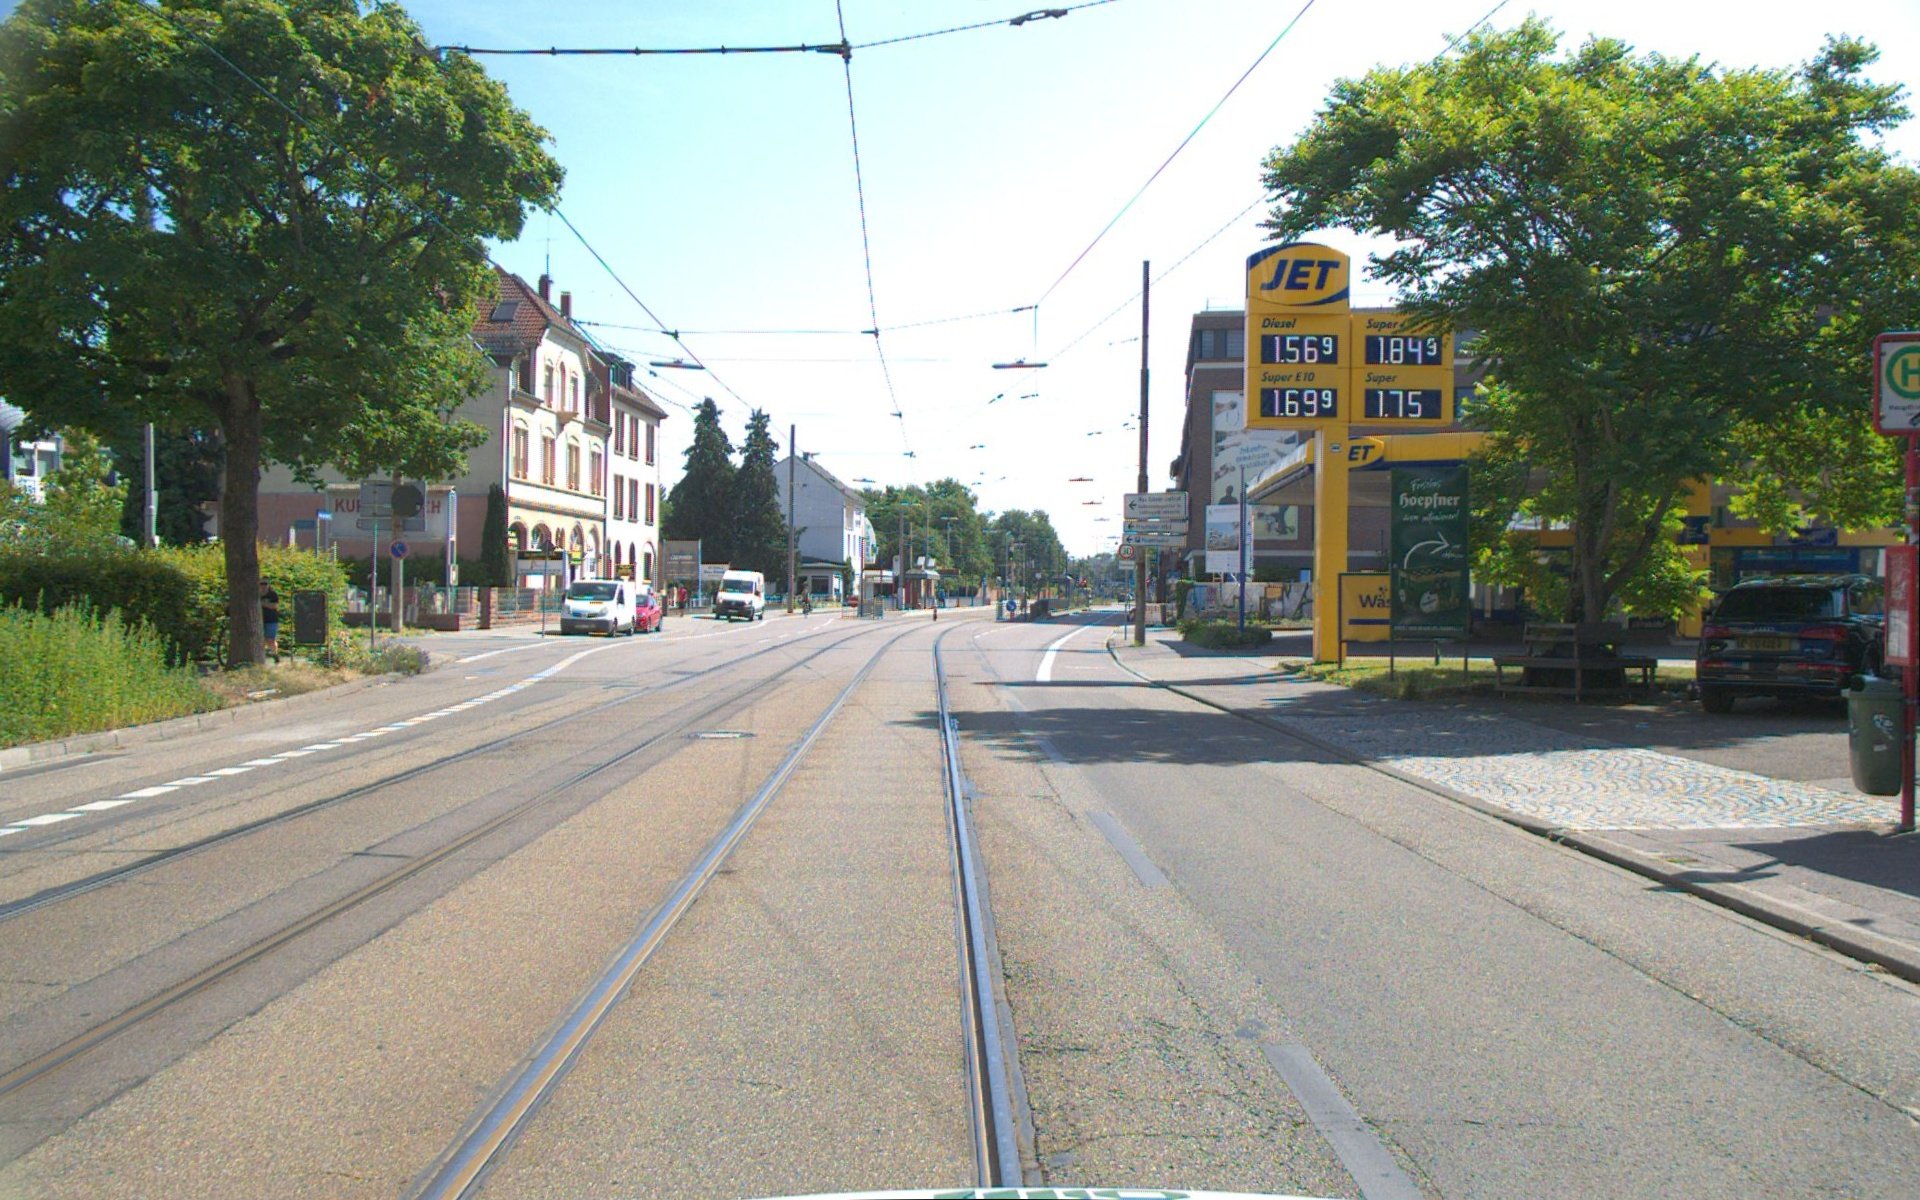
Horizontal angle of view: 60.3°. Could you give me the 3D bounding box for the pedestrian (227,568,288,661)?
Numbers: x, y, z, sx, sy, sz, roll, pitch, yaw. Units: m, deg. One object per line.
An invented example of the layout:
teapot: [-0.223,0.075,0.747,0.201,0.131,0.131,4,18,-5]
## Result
pedestrian: [-12.378,0.255,29.169,0.673,1.590,0.987,2,0,-5]

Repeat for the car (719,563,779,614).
car: [-11.258,-0.645,88.598,2.281,2.580,6.507,0,1,1]

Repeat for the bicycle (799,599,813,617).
bicycle: [-8.737,0.426,93.963,0.596,1.001,2.164,0,0,0]

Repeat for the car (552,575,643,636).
car: [-12.745,0.178,58.451,2.041,2.049,4.909,1,0,1]

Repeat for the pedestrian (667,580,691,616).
pedestrian: [-14.660,-0.116,86.350,0.922,1.847,1.131,0,0,9]

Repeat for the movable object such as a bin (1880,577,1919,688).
movable object such as a bin: [13.947,0.446,23.152,1.388,1.529,1.380,0,0,3]

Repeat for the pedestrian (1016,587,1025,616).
pedestrian: [3.763,0.070,103.527,0.544,1.791,0.793,0,0,1]

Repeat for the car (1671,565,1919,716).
car: [10.754,0.432,20.736,1.985,1.669,4.630,0,0,43]

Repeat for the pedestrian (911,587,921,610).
pedestrian: [-3.259,-0.110,122.110,0.691,1.719,0.416,0,0,-1]

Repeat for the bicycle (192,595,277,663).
bicycle: [-12.761,0.493,29.141,0.623,1.137,2.066,0,0,-1]

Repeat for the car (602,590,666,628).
car: [-12.702,0.319,64.626,1.685,1.431,4.001,0,0,0]

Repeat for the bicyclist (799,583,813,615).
bicyclist: [-8.729,-0.062,93.876,0.701,1.754,0.988,0,0,1]
